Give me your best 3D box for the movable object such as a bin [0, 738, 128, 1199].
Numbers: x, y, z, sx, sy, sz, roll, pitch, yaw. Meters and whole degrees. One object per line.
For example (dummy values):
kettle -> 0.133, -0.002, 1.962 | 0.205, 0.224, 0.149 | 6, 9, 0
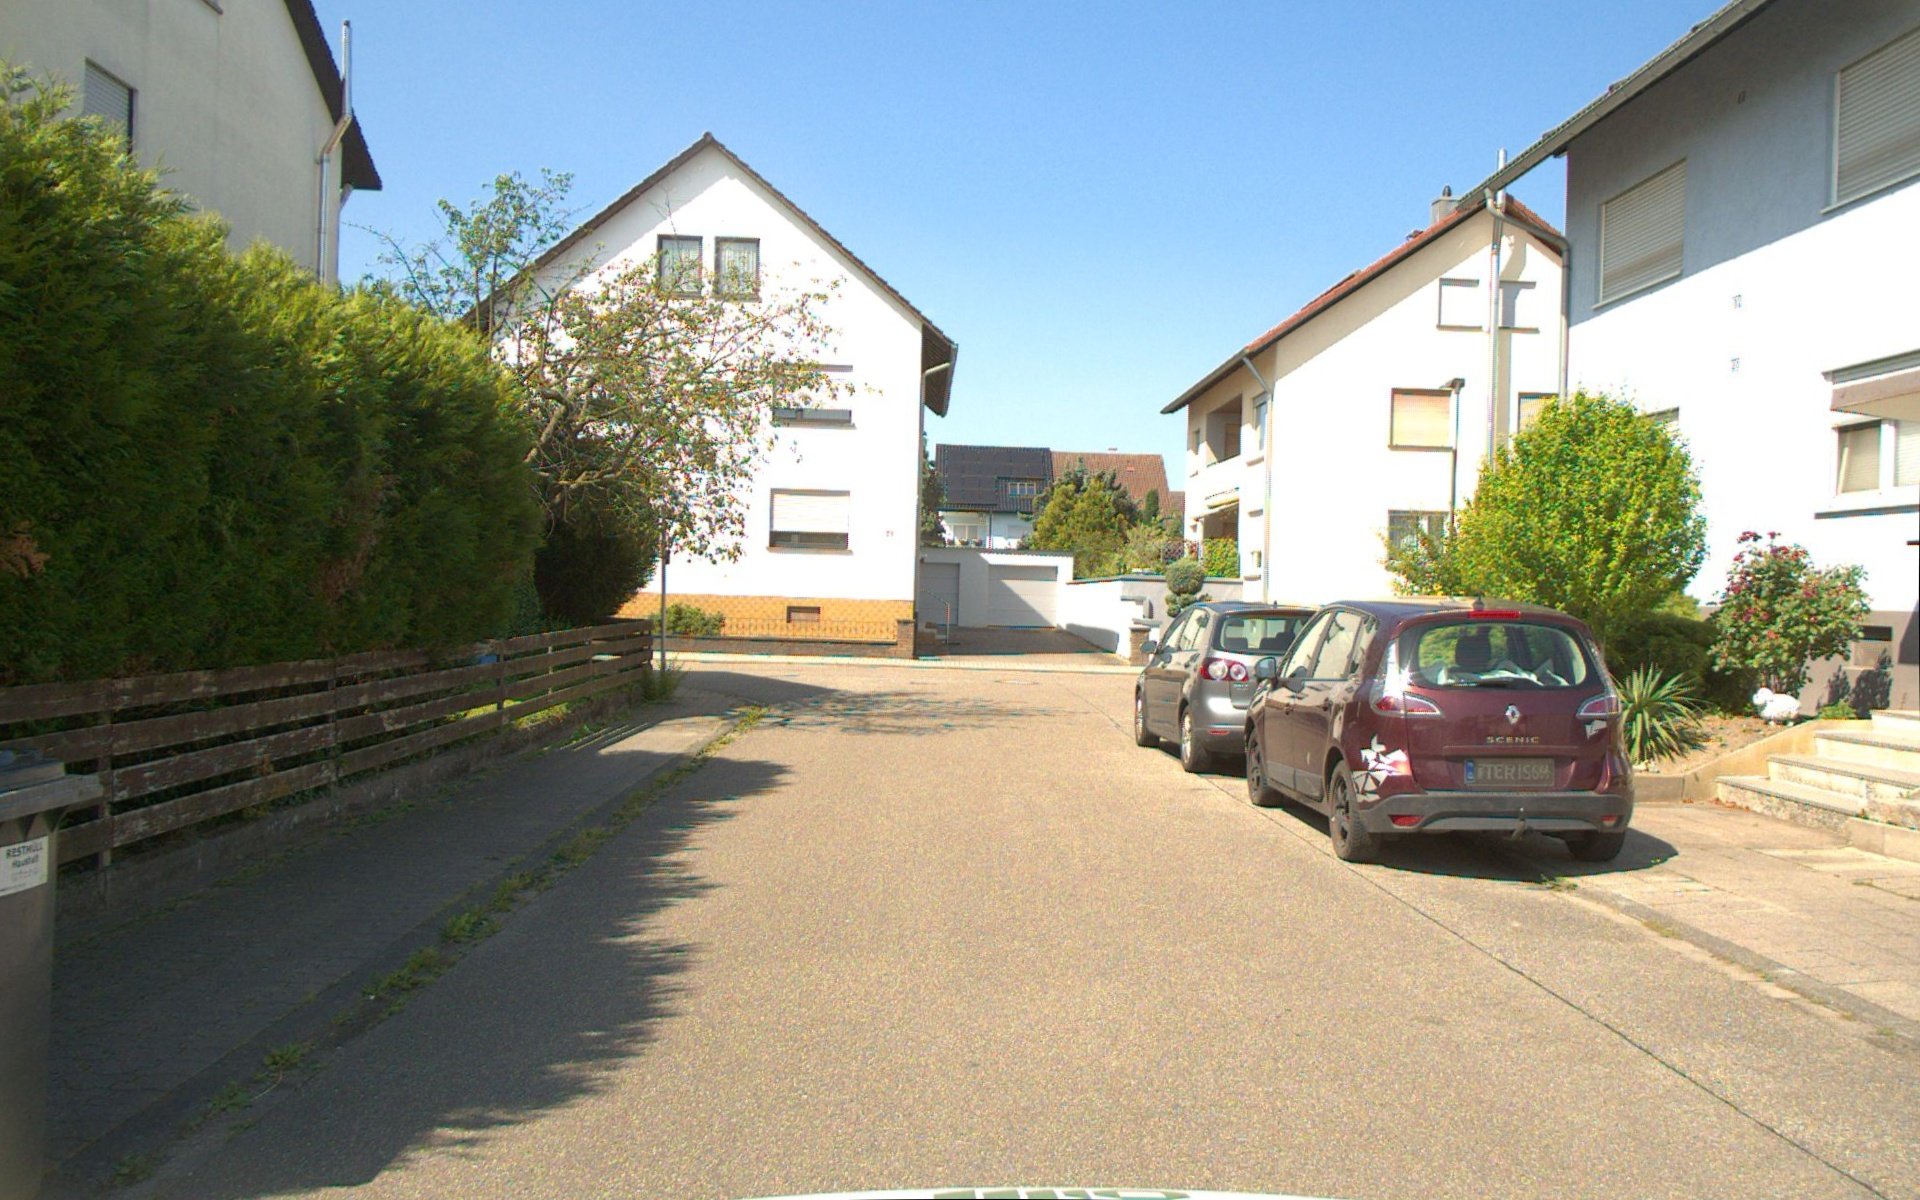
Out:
movable object such as a bin -> -2.475, 0.883, 3.803 | 0.802, 1.082, 0.611 | 1, 0, -2

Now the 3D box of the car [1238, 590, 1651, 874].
car -> 3.144, 0.755, 11.606 | 1.611, 1.609, 4.146 | 1, 0, -1

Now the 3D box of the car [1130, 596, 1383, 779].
car -> 2.816, 0.765, 16.567 | 1.612, 1.573, 4.045 | 1, 0, -3
